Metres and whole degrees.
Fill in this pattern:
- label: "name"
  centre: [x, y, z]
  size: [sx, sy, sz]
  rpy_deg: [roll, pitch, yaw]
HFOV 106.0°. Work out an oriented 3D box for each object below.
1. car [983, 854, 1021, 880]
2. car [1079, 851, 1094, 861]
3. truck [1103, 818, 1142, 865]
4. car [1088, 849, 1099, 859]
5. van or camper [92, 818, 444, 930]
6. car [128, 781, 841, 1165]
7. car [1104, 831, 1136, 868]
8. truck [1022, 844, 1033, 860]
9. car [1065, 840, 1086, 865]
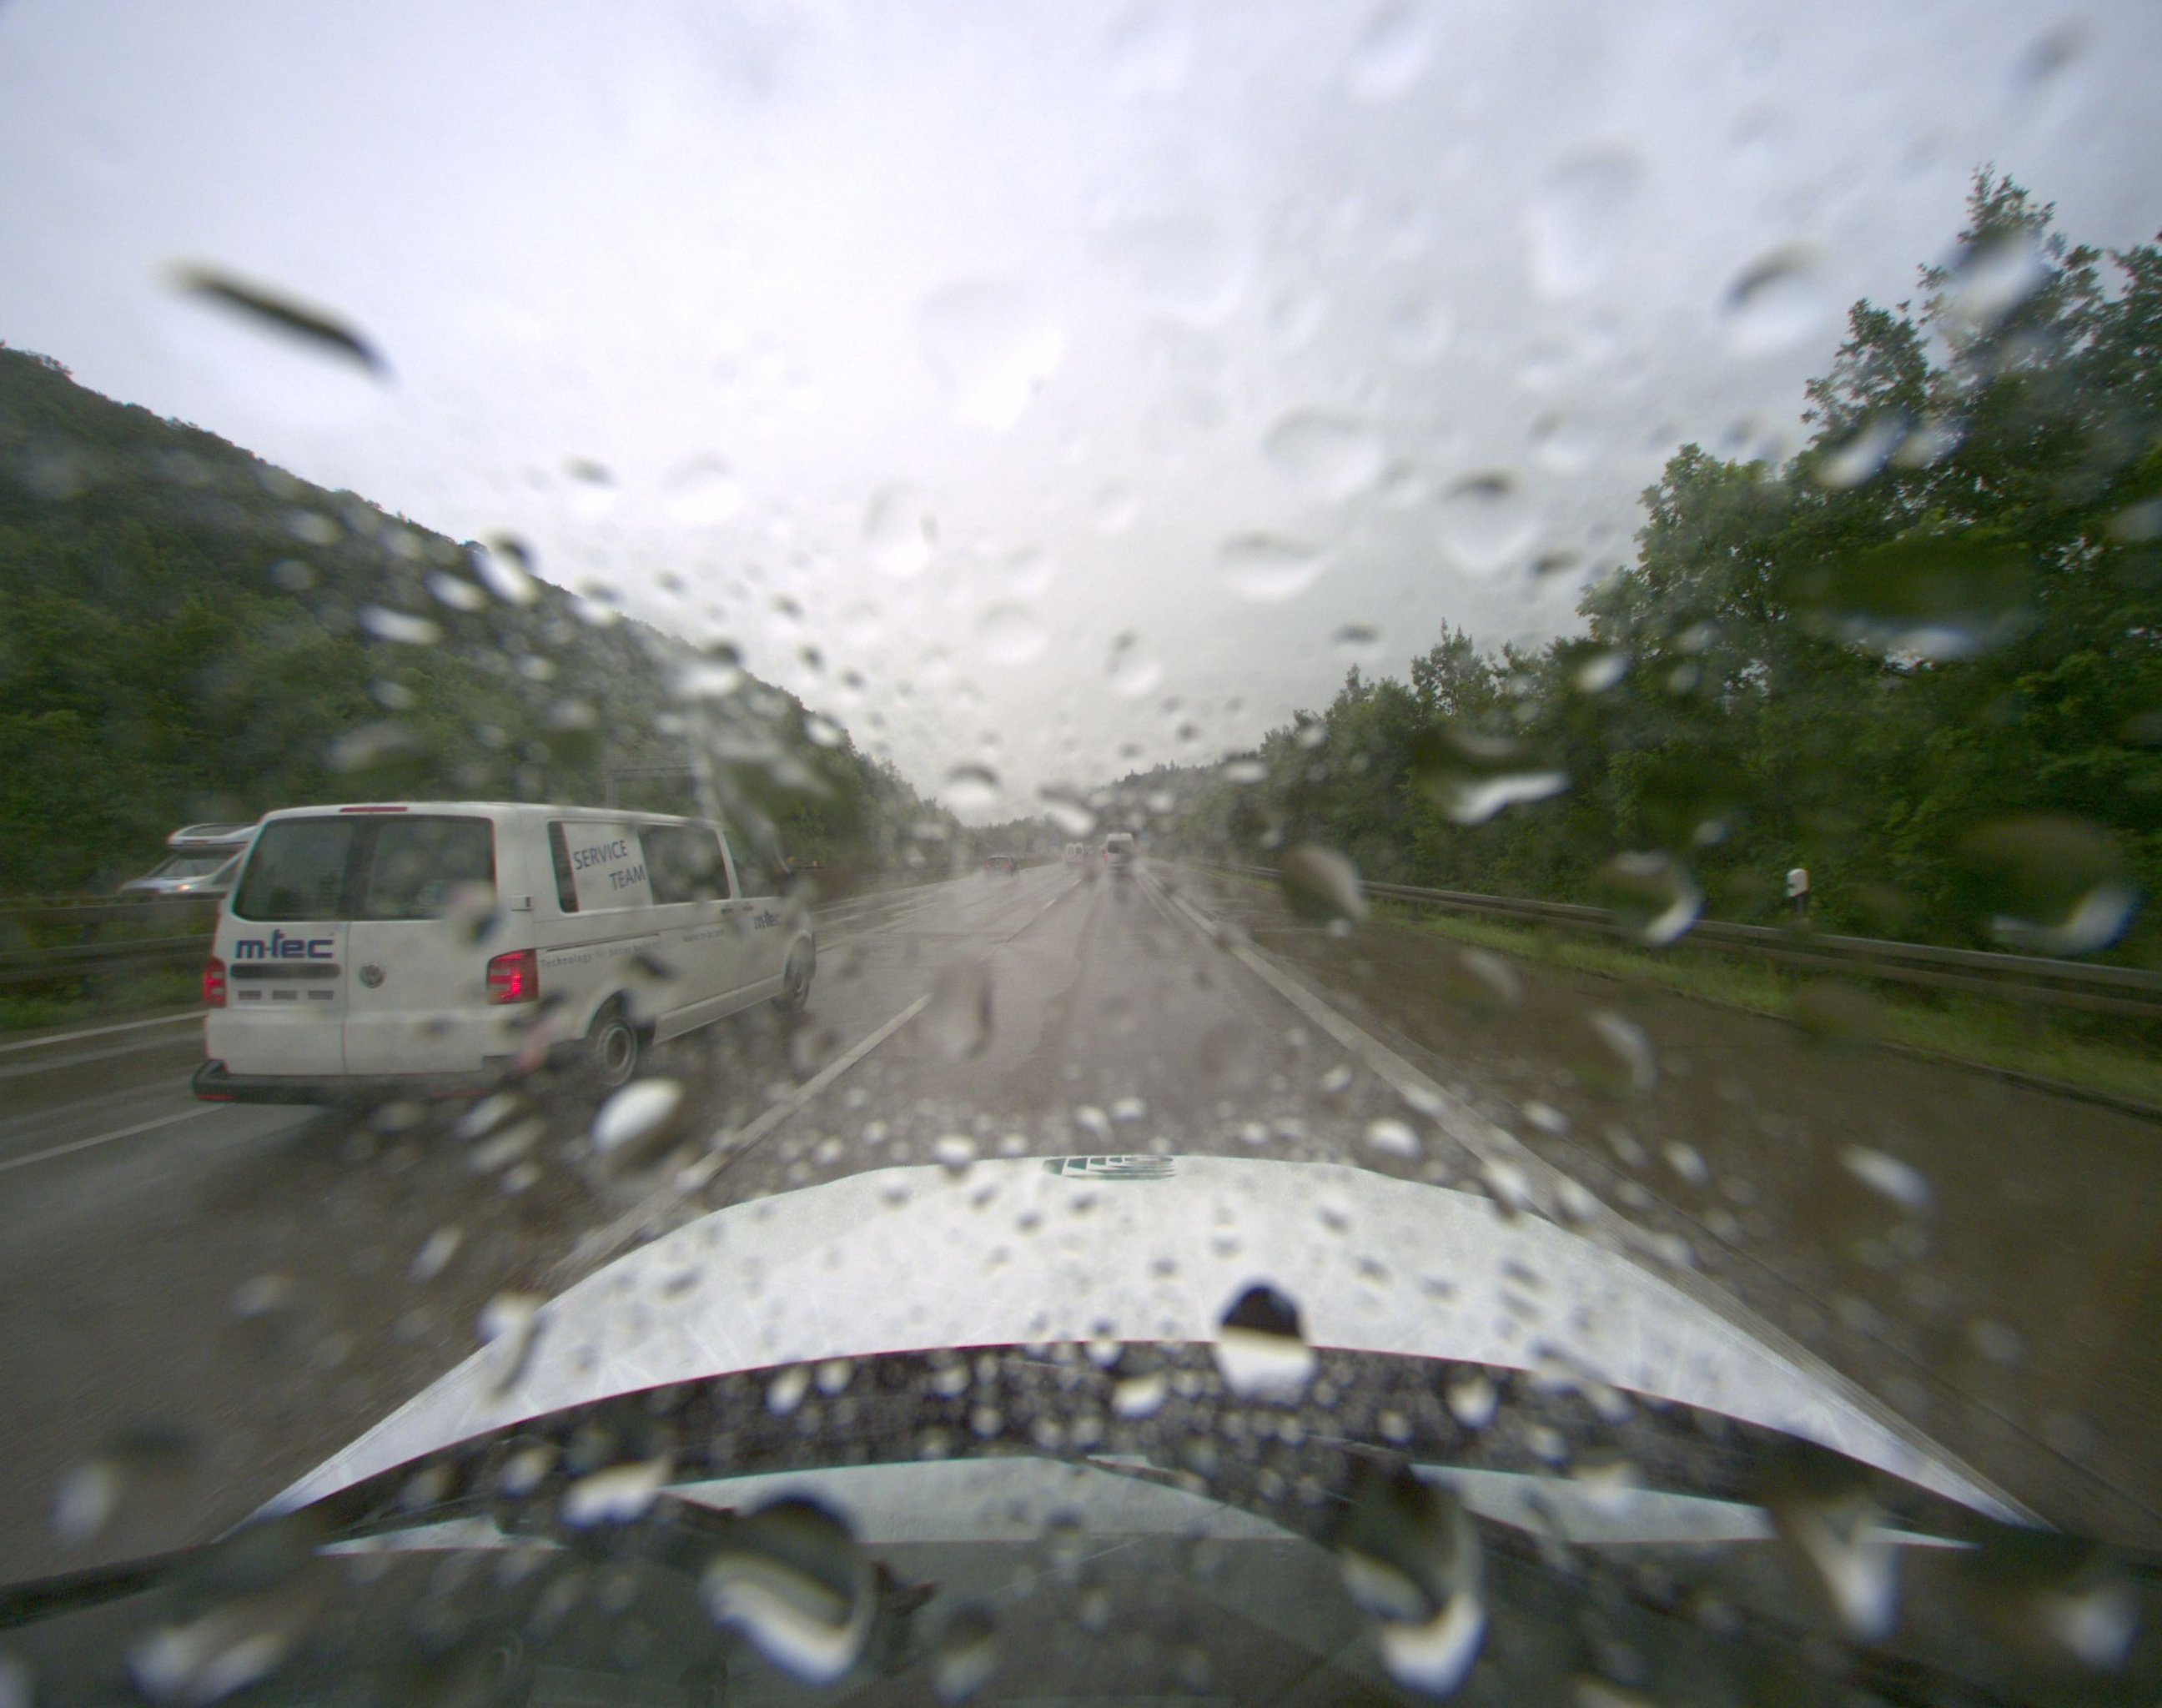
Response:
- label: "car"
  centre: [-4.687, 0.743, 48.623]
  size: [1.735, 1.388, 4.322]
  rpy_deg: [-2, 0, 1]
- label: "car"
  centre: [0.755, 0.236, 109.099]
  size: [1.851, 1.339, 4.349]
  rpy_deg: [0, 0, -1]
- label: "truck"
  centre: [3.860, -1.288, 77.278]
  size: [3.372, 3.967, 8.672]
  rpy_deg: [-3, 2, 2]
- label: "car"
  centre: [2.305, 0.016, 149.601]
  size: [1.862, 1.810, 4.189]
  rpy_deg: [0, 0, 1]
- label: "van or camper"
  centre: [-23.149, 0.480, 23.987]
  size: [2.546, 2.718, 7.504]
  rpy_deg: [-1, 0, 3]
- label: "car"
  centre: [-3.755, 0.585, 6.620]
  size: [1.892, 1.894, 5.046]
  rpy_deg: [-1, 0, 2]
- label: "car"
  centre: [2.518, -0.304, 53.336]
  size: [1.893, 2.334, 5.251]
  rpy_deg: [0, 0, 1]
- label: "truck"
  centre: [-11.362, -0.446, 172.336]
  size: [1.990, 3.169, 6.722]
  rpy_deg: [-3, 0, -5]
- label: "car"
  centre: [-0.488, -0.152, 81.815]
  size: [1.991, 2.431, 5.792]
  rpy_deg: [0, 0, 1]
